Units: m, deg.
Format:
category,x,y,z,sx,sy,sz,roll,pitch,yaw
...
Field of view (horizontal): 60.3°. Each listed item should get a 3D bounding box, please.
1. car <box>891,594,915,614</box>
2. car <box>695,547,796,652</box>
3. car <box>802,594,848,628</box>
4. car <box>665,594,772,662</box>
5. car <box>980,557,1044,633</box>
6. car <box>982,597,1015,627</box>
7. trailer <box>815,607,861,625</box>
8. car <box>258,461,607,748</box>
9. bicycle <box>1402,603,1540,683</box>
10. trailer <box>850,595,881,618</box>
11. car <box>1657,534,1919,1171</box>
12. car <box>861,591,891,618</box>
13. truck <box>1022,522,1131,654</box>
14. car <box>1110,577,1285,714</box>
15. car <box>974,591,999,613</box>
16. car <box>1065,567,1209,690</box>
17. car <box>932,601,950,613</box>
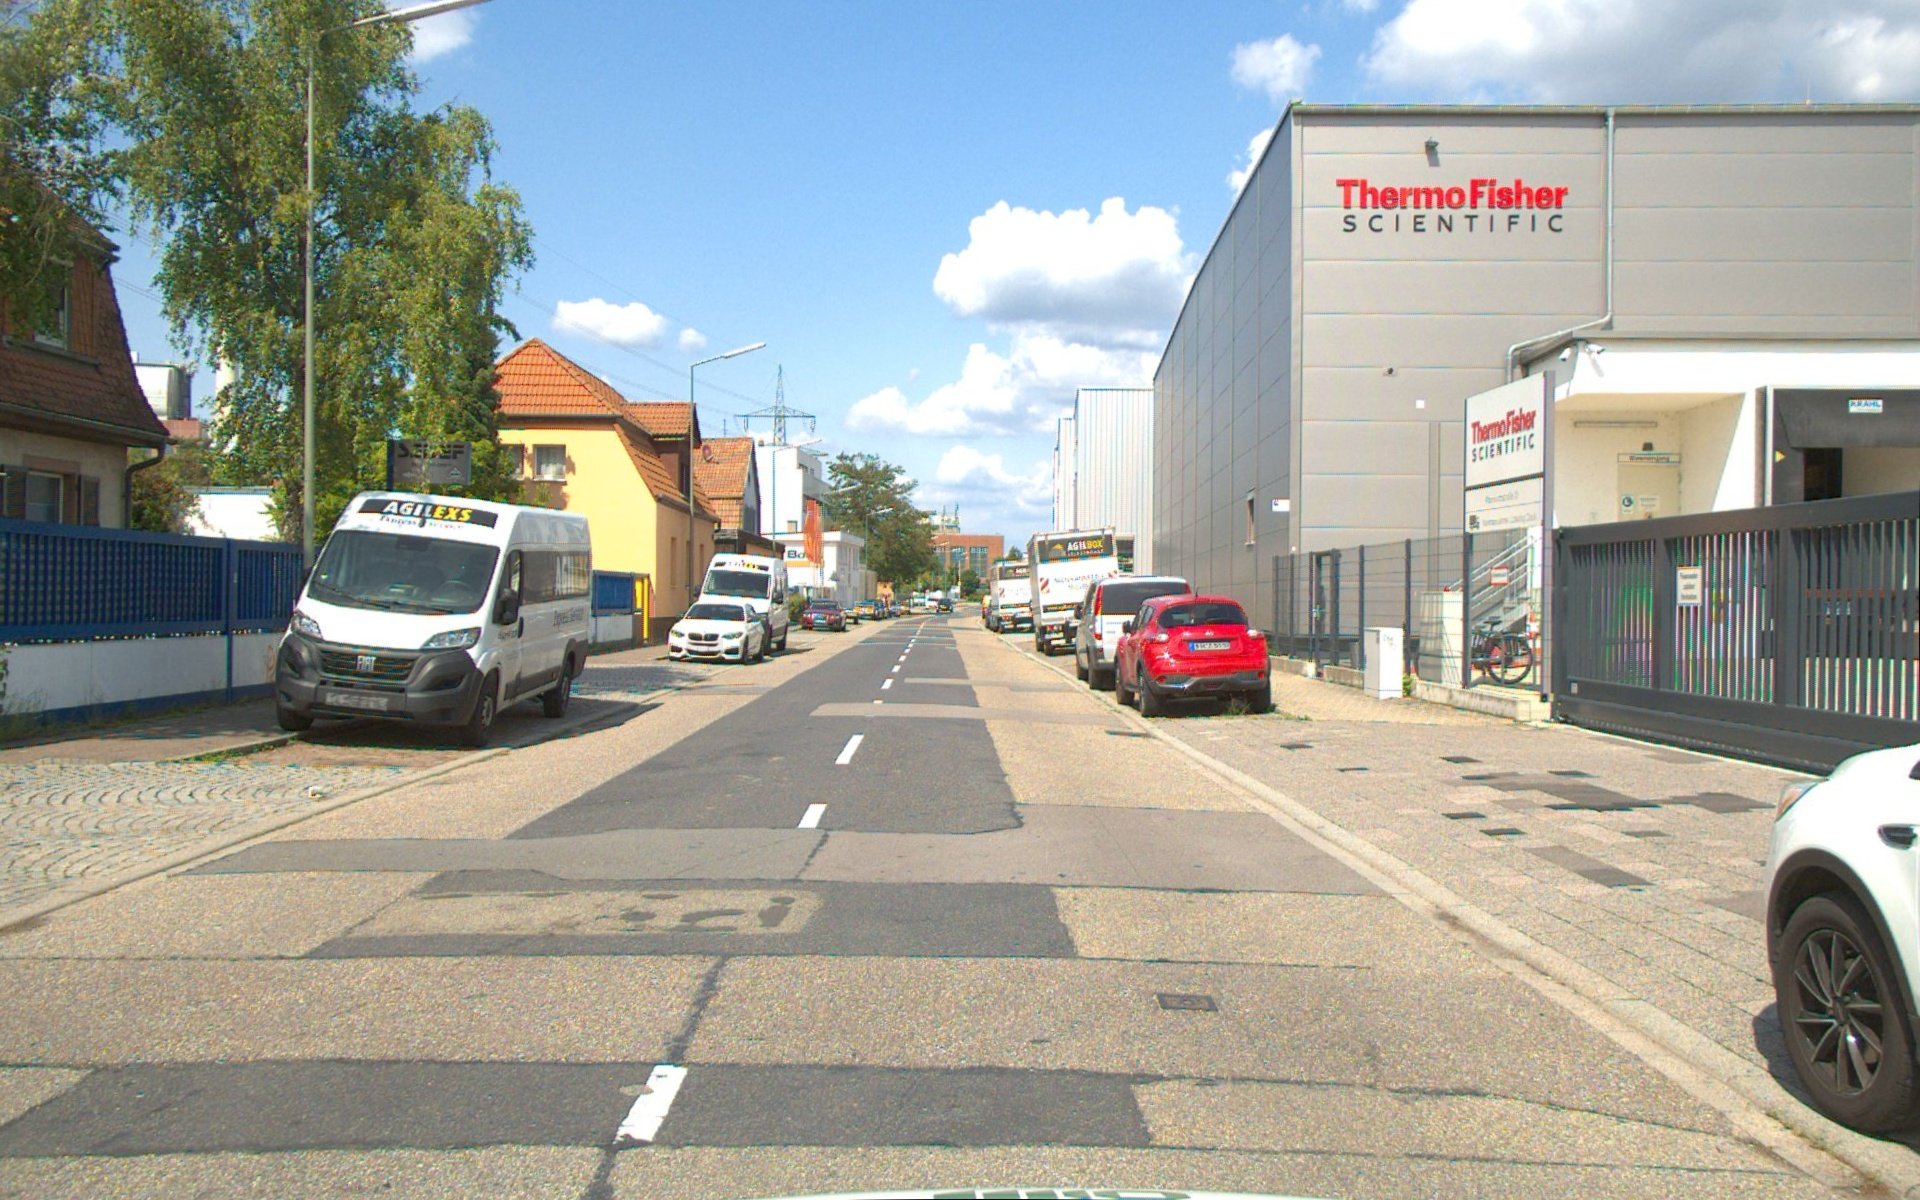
category,x,y,z,sx,sy,sz,roll,pitch,yaw
car,-5.370,0.398,156.298,1.882,1.825,4.001,2,-1,2
car,-5.820,0.020,45.738,1.986,2.606,6.837,2,0,-2
car,-6.281,0.528,77.416,1.726,1.473,4.740,2,0,0
car,-5.563,0.628,38.608,1.759,1.422,4.501,2,0,0
car,2.404,-0.224,78.924,2.341,3.421,6.640,-2,0,-4
car,2.106,0.664,91.320,1.732,1.640,3.873,0,-1,0
trailer,-7.053,0.940,96.208,2.314,0.908,5.568,2,0,-1
car,-5.655,0.067,18.860,1.989,2.602,6.653,3,-1,-2
bicycle,7.706,0.641,24.973,1.909,1.163,0.457,-1,0,1
trailer,-6.689,0.445,117.376,1.953,1.584,4.252,1,0,-1
car,3.532,0.654,3.670,1.896,1.723,4.679,-2,0,-1
car,-6.724,0.372,132.812,1.952,2.049,4.001,2,-1,2
truck,3.244,-0.307,47.724,2.409,3.350,6.817,-4,0,0
car,3.217,0.590,23.150,1.670,1.652,4.091,-3,0,-2
car,2.129,0.185,132.931,1.899,1.772,4.377,0,0,2
car,3.112,0.470,30.105,2.012,1.936,5.147,-3,0,0
car,-2.007,0.728,174.809,1.879,1.307,3.614,0,0,-1
